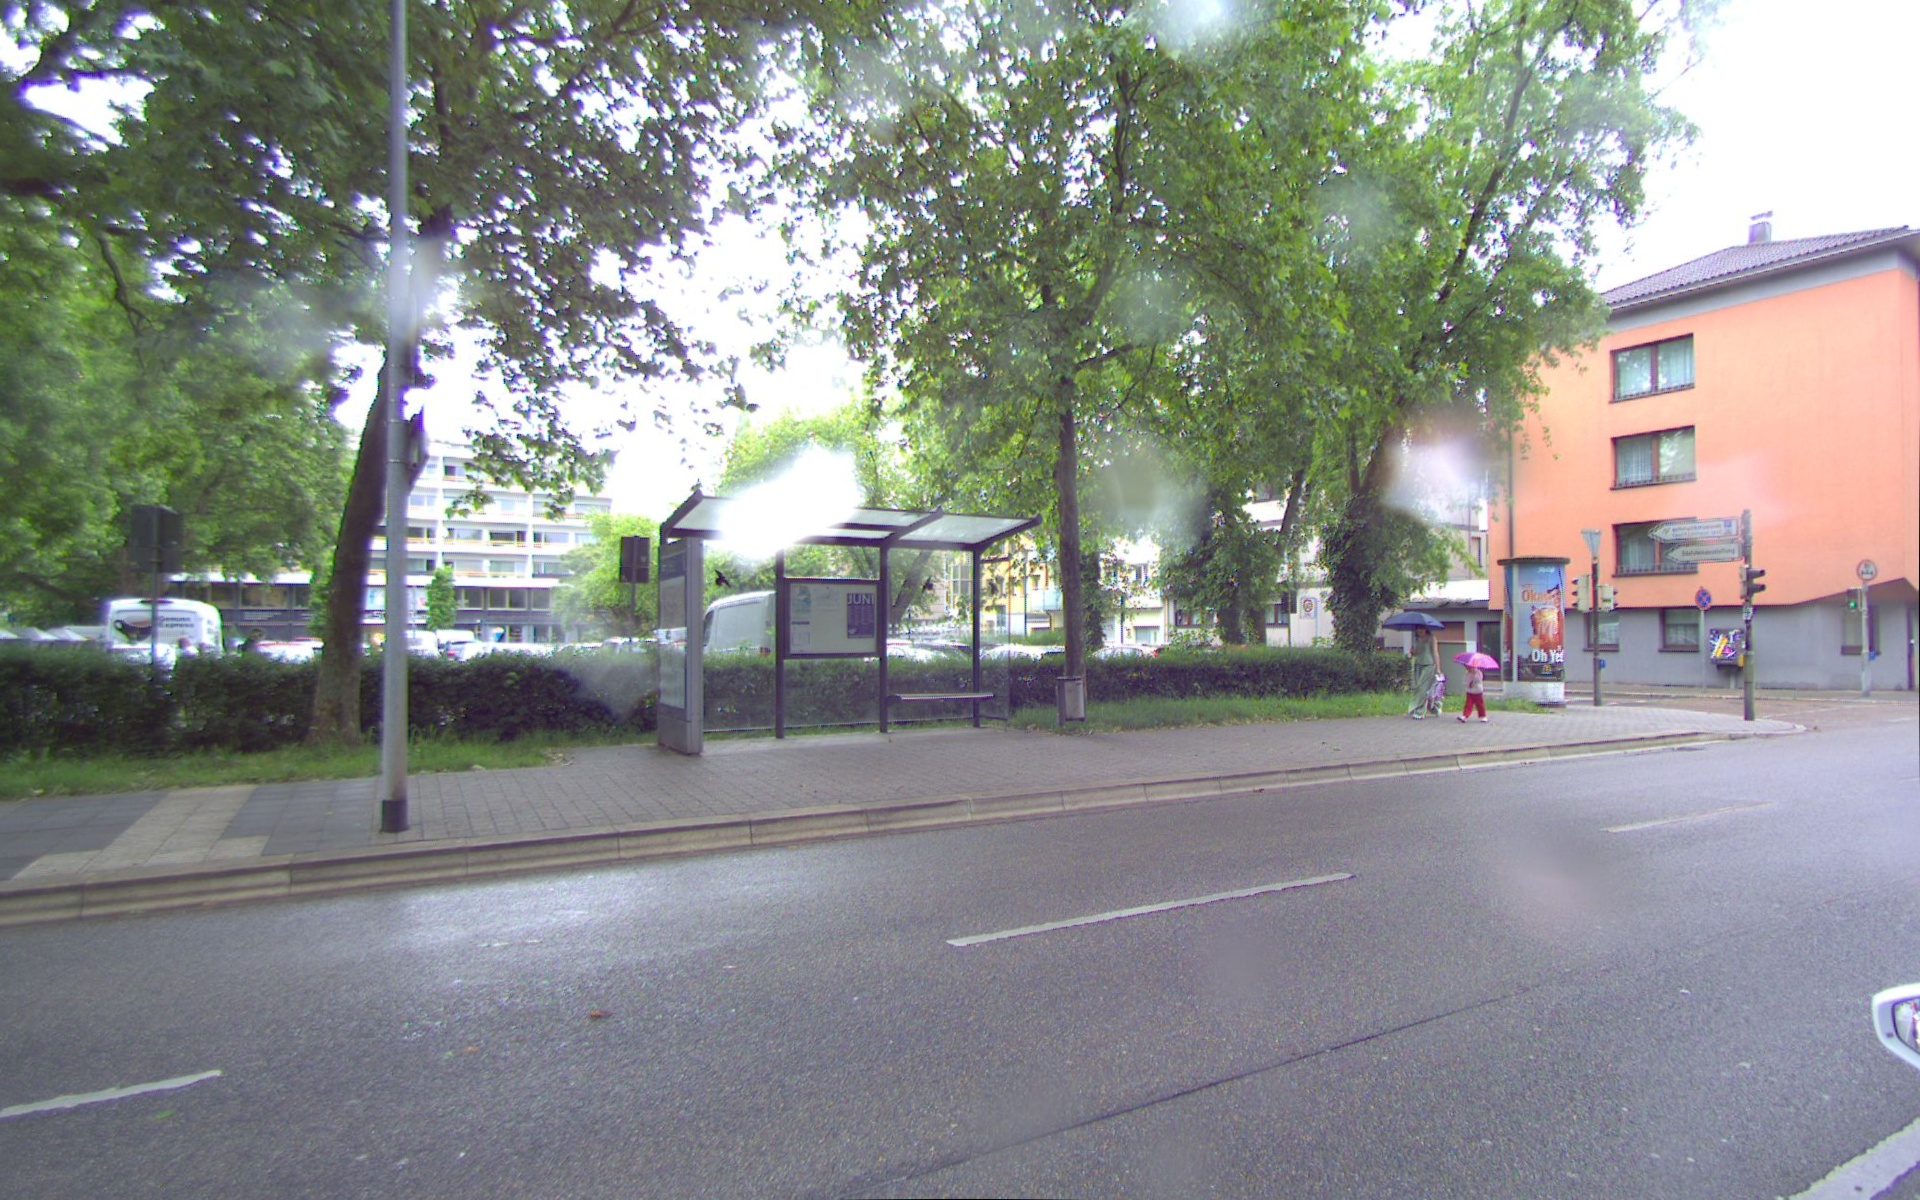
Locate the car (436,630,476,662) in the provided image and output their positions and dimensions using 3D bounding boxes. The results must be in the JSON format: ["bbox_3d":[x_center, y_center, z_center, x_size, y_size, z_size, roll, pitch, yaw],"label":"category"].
[{"bbox_3d":[-27.212,2.457,54.220,1.622,1.544,3.174,2,0,-32],"label":"car"}]

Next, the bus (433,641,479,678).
[{"bbox_3d":[-22.378,2.610,44.568,1.587,1.559,3.403,2,-3,-30],"label":"bus"}]

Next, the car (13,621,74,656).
[{"bbox_3d":[-40.869,1.693,44.848,1.412,1.447,2.941,1,0,-30],"label":"car"}]

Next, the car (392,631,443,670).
[{"bbox_3d":[-20.907,1.945,38.685,1.587,1.447,3.293,2,-3,-30],"label":"car"}]

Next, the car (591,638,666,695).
[{"bbox_3d":[-9.118,1.779,27.501,1.375,1.454,3.248,1,-3,-29],"label":"car"}]

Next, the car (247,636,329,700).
[{"bbox_3d":[-16.518,1.635,24.788,1.375,1.454,3.248,1,-3,-29],"label":"car"}]

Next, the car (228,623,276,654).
[{"bbox_3d":[-33.721,1.858,47.906,1.587,1.447,3.293,2,-3,-30],"label":"car"}]

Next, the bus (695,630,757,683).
[{"bbox_3d":[-7.836,1.865,33.520,1.363,1.698,2.779,1,-3,-28],"label":"bus"}]

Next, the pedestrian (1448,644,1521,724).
[{"bbox_3d":[8.284,1.314,15.869,0.817,1.190,0.681,1,0,-30],"label":"pedestrian"}]

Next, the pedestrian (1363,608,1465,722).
[{"bbox_3d":[7.429,1.027,16.450,1.195,1.765,0.987,1,0,-30],"label":"pedestrian"}]

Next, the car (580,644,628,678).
[{"bbox_3d":[-15.203,2.578,42.826,1.332,1.401,3.141,1,-3,-30],"label":"car"}]

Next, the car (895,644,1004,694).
[{"bbox_3d":[-0.407,2.213,33.165,1.799,1.536,3.965,2,-3,-33],"label":"car"}]

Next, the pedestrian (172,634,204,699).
[{"bbox_3d":[-15.104,1.294,19.649,0.462,1.229,0.434,2,0,-37],"label":"pedestrian"}]

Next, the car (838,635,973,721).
[{"bbox_3d":[-1.218,1.575,21.184,1.492,1.544,3.174,2,0,-32],"label":"car"}]

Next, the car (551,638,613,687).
[{"bbox_3d":[-11.964,1.939,31.678,1.375,1.454,3.248,1,-3,-29],"label":"car"}]

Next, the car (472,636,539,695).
[{"bbox_3d":[-12.097,1.711,26.646,1.375,1.454,3.248,1,-3,-29],"label":"car"}]

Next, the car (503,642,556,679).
[{"bbox_3d":[-17.702,2.453,41.235,1.587,1.447,3.293,2,-3,-30],"label":"car"}]

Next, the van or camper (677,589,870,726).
[{"bbox_3d":[-3.574,1.036,18.601,2.026,2.198,4.458,2,-3,-32],"label":"van or camper"}]

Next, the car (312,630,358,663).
[{"bbox_3d":[-31.427,2.312,50.582,1.818,1.444,3.799,2,0,-31],"label":"car"}]

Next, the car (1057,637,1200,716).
[{"bbox_3d":[3.798,1.683,23.038,1.492,1.544,3.174,2,0,-32],"label":"car"}]

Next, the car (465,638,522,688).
[{"bbox_3d":[-14.549,1.941,31.278,1.375,1.454,3.248,1,-3,-29],"label":"car"}]

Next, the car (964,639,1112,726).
[{"bbox_3d":[1.577,1.659,21.167,1.492,1.544,3.174,2,0,-32],"label":"car"}]

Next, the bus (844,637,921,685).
[{"bbox_3d":[-2.469,1.895,31.545,1.364,1.451,2.777,1,-3,-30],"label":"bus"}]

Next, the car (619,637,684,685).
[{"bbox_3d":[-10.000,1.958,32.472,1.375,1.454,3.248,1,-3,-29],"label":"car"}]

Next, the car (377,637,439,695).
[{"bbox_3d":[-14.740,1.736,26.848,1.375,1.454,3.248,1,-3,-29],"label":"car"}]

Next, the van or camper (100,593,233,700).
[{"bbox_3d":[-20.705,1.217,26.420,2.074,2.570,4.392,1,-3,-30],"label":"van or camper"}]

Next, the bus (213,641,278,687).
[{"bbox_3d":[-25.555,2.272,36.014,1.587,1.559,3.403,2,-3,-30],"label":"bus"}]

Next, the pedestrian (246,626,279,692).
[{"bbox_3d":[-13.392,1.133,19.287,0.481,1.229,0.434,2,0,-37],"label":"pedestrian"}]

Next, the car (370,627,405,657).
[{"bbox_3d":[-33.049,2.399,57.913,1.622,1.544,3.174,1,1,-32],"label":"car"}]
